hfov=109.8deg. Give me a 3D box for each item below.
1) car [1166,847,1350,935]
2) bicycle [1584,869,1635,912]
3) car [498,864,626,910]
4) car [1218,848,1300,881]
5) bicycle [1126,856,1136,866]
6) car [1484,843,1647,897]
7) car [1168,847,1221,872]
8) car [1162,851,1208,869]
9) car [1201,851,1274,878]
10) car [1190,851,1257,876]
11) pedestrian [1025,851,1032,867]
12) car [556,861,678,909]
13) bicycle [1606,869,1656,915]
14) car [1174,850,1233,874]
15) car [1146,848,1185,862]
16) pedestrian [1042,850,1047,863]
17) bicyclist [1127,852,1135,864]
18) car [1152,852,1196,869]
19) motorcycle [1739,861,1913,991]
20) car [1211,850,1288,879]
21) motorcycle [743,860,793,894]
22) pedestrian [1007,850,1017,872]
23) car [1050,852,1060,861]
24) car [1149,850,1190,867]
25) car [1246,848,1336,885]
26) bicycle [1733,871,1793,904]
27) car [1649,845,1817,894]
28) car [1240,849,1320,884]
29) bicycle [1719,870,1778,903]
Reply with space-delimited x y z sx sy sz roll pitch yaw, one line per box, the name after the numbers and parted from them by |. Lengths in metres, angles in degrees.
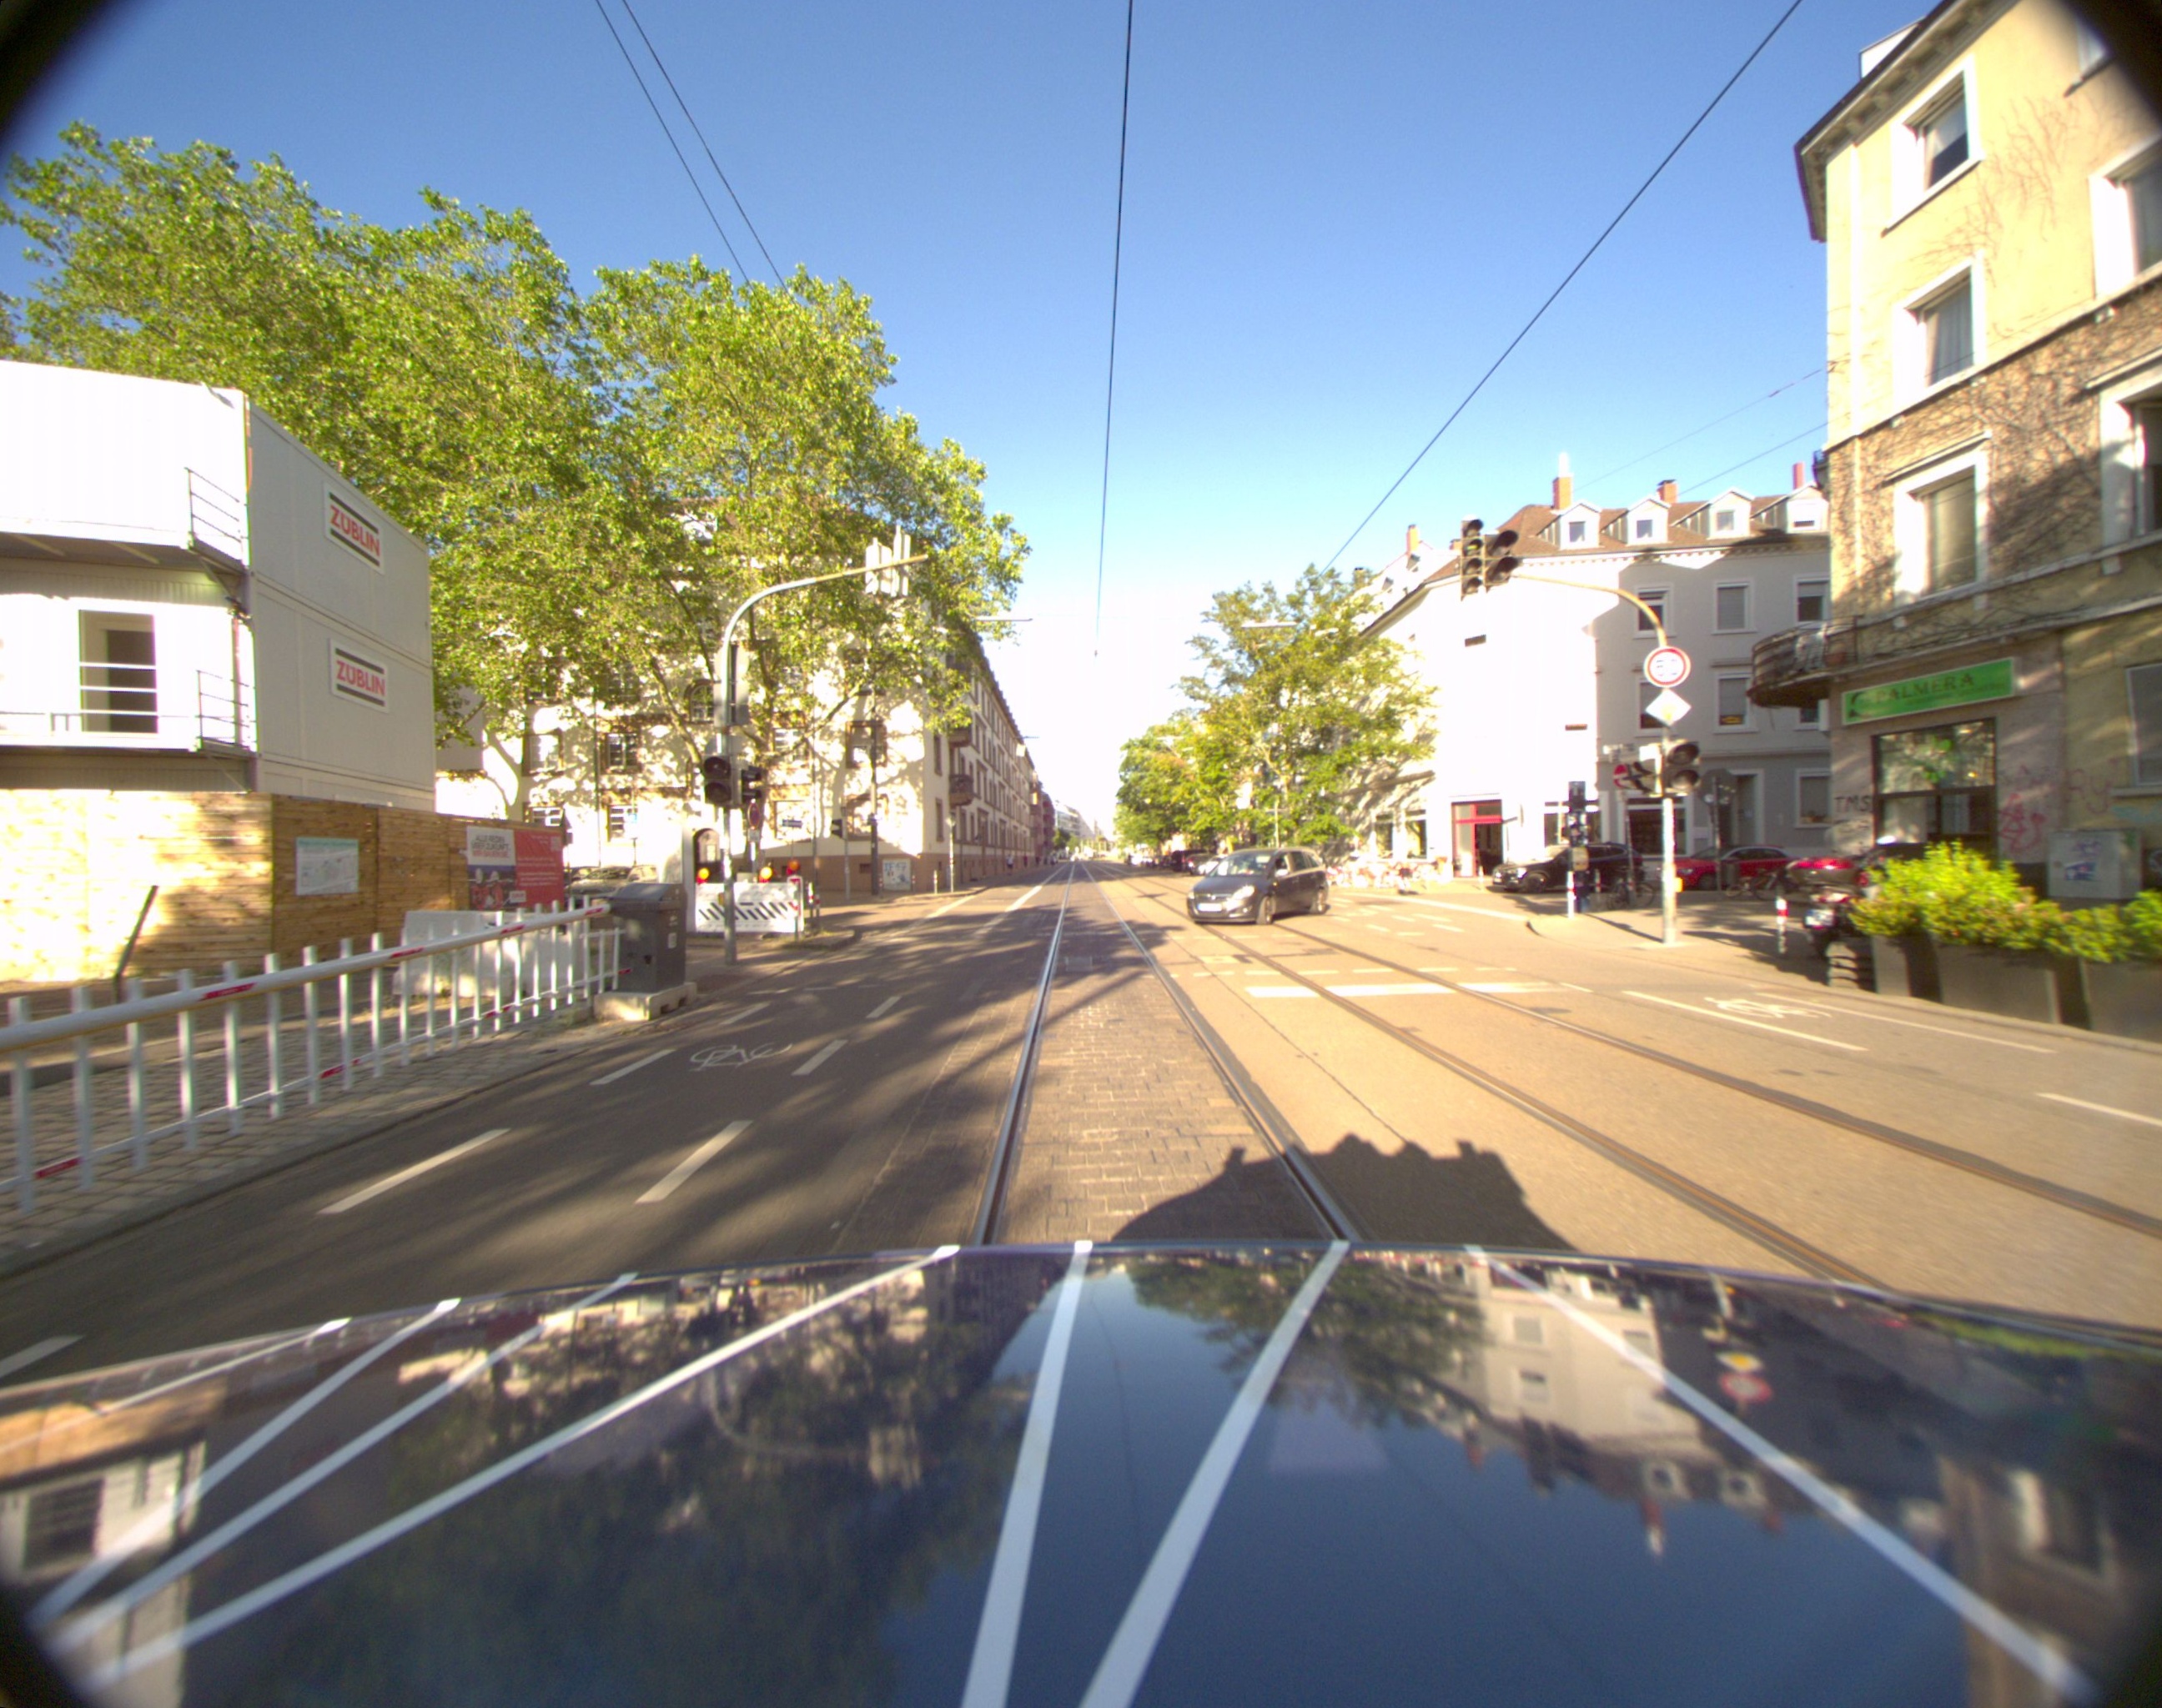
4.198 0.720 17.322 1.795 1.652 5.195 -2 0 41 | car
13.266 0.903 19.051 1.691 1.039 0.457 1 -1 -34 | bicycle
-19.168 1.167 28.348 1.727 1.492 4.475 -1 0 -1 | car
9.836 0.552 42.028 4.139 1.547 1.617 -3 2 -20 | car
6.181 0.830 94.285 0.901 1.158 3.248 -1 0 0 | bicycle
15.954 0.548 25.218 4.192 1.652 1.767 -1 -1 5 | car
9.463 0.450 63.291 4.142 1.877 1.884 -3 2 -33 | car
10.089 0.555 73.724 4.133 1.480 1.620 -2 2 -1 | car
9.711 0.622 47.128 4.137 1.480 1.618 -3 2 -15 | car
9.634 0.620 51.532 4.134 1.480 1.619 -2 2 -6 | car
-5.907 0.539 85.528 0.737 1.827 0.696 -1 1 -2 | pedestrian
-16.716 1.059 27.692 1.727 1.562 4.475 -1 0 -1 | car
13.506 0.910 18.635 1.667 1.039 0.450 -1 1 -34 | bicycle
8.845 0.579 54.716 4.142 1.480 1.616 -3 2 -33 | car
9.691 0.116 87.172 4.138 1.480 1.618 -3 2 -16 | car
-5.376 0.372 112.608 0.737 1.827 0.696 -1 1 -2 | pedestrian
6.169 0.453 94.273 0.901 1.445 1.263 -1 1 0 | bicyclist
9.503 0.622 77.857 4.138 1.480 1.618 -3 2 -16 | car
9.559 0.838 9.722 2.424 1.343 0.998 -4 2 -31 | motorcycle
9.978 0.621 45.069 4.137 1.480 1.618 -3 2 -14 | car
-12.558 0.900 30.535 1.762 1.325 0.515 -1 1 -3 | motorcycle
-5.642 0.577 62.137 0.737 1.827 0.696 -1 1 -2 | pedestrian
-5.195 0.461 151.650 1.889 1.674 4.392 -2 -1 -3 | car
9.751 0.463 83.870 4.138 1.653 1.618 -3 2 -16 | car
10.294 0.569 37.271 4.140 1.547 1.617 -3 2 -24 | car
18.081 0.870 20.164 0.355 0.813 1.312 -1 0 -3 | bicycle
21.308 0.501 24.964 3.950 1.494 1.652 -1 -1 5 | car
10.404 0.618 39.595 4.142 1.547 1.616 -3 2 -33 | car
17.699 0.857 20.168 0.371 0.813 1.312 -1 0 -3 | bicycle
